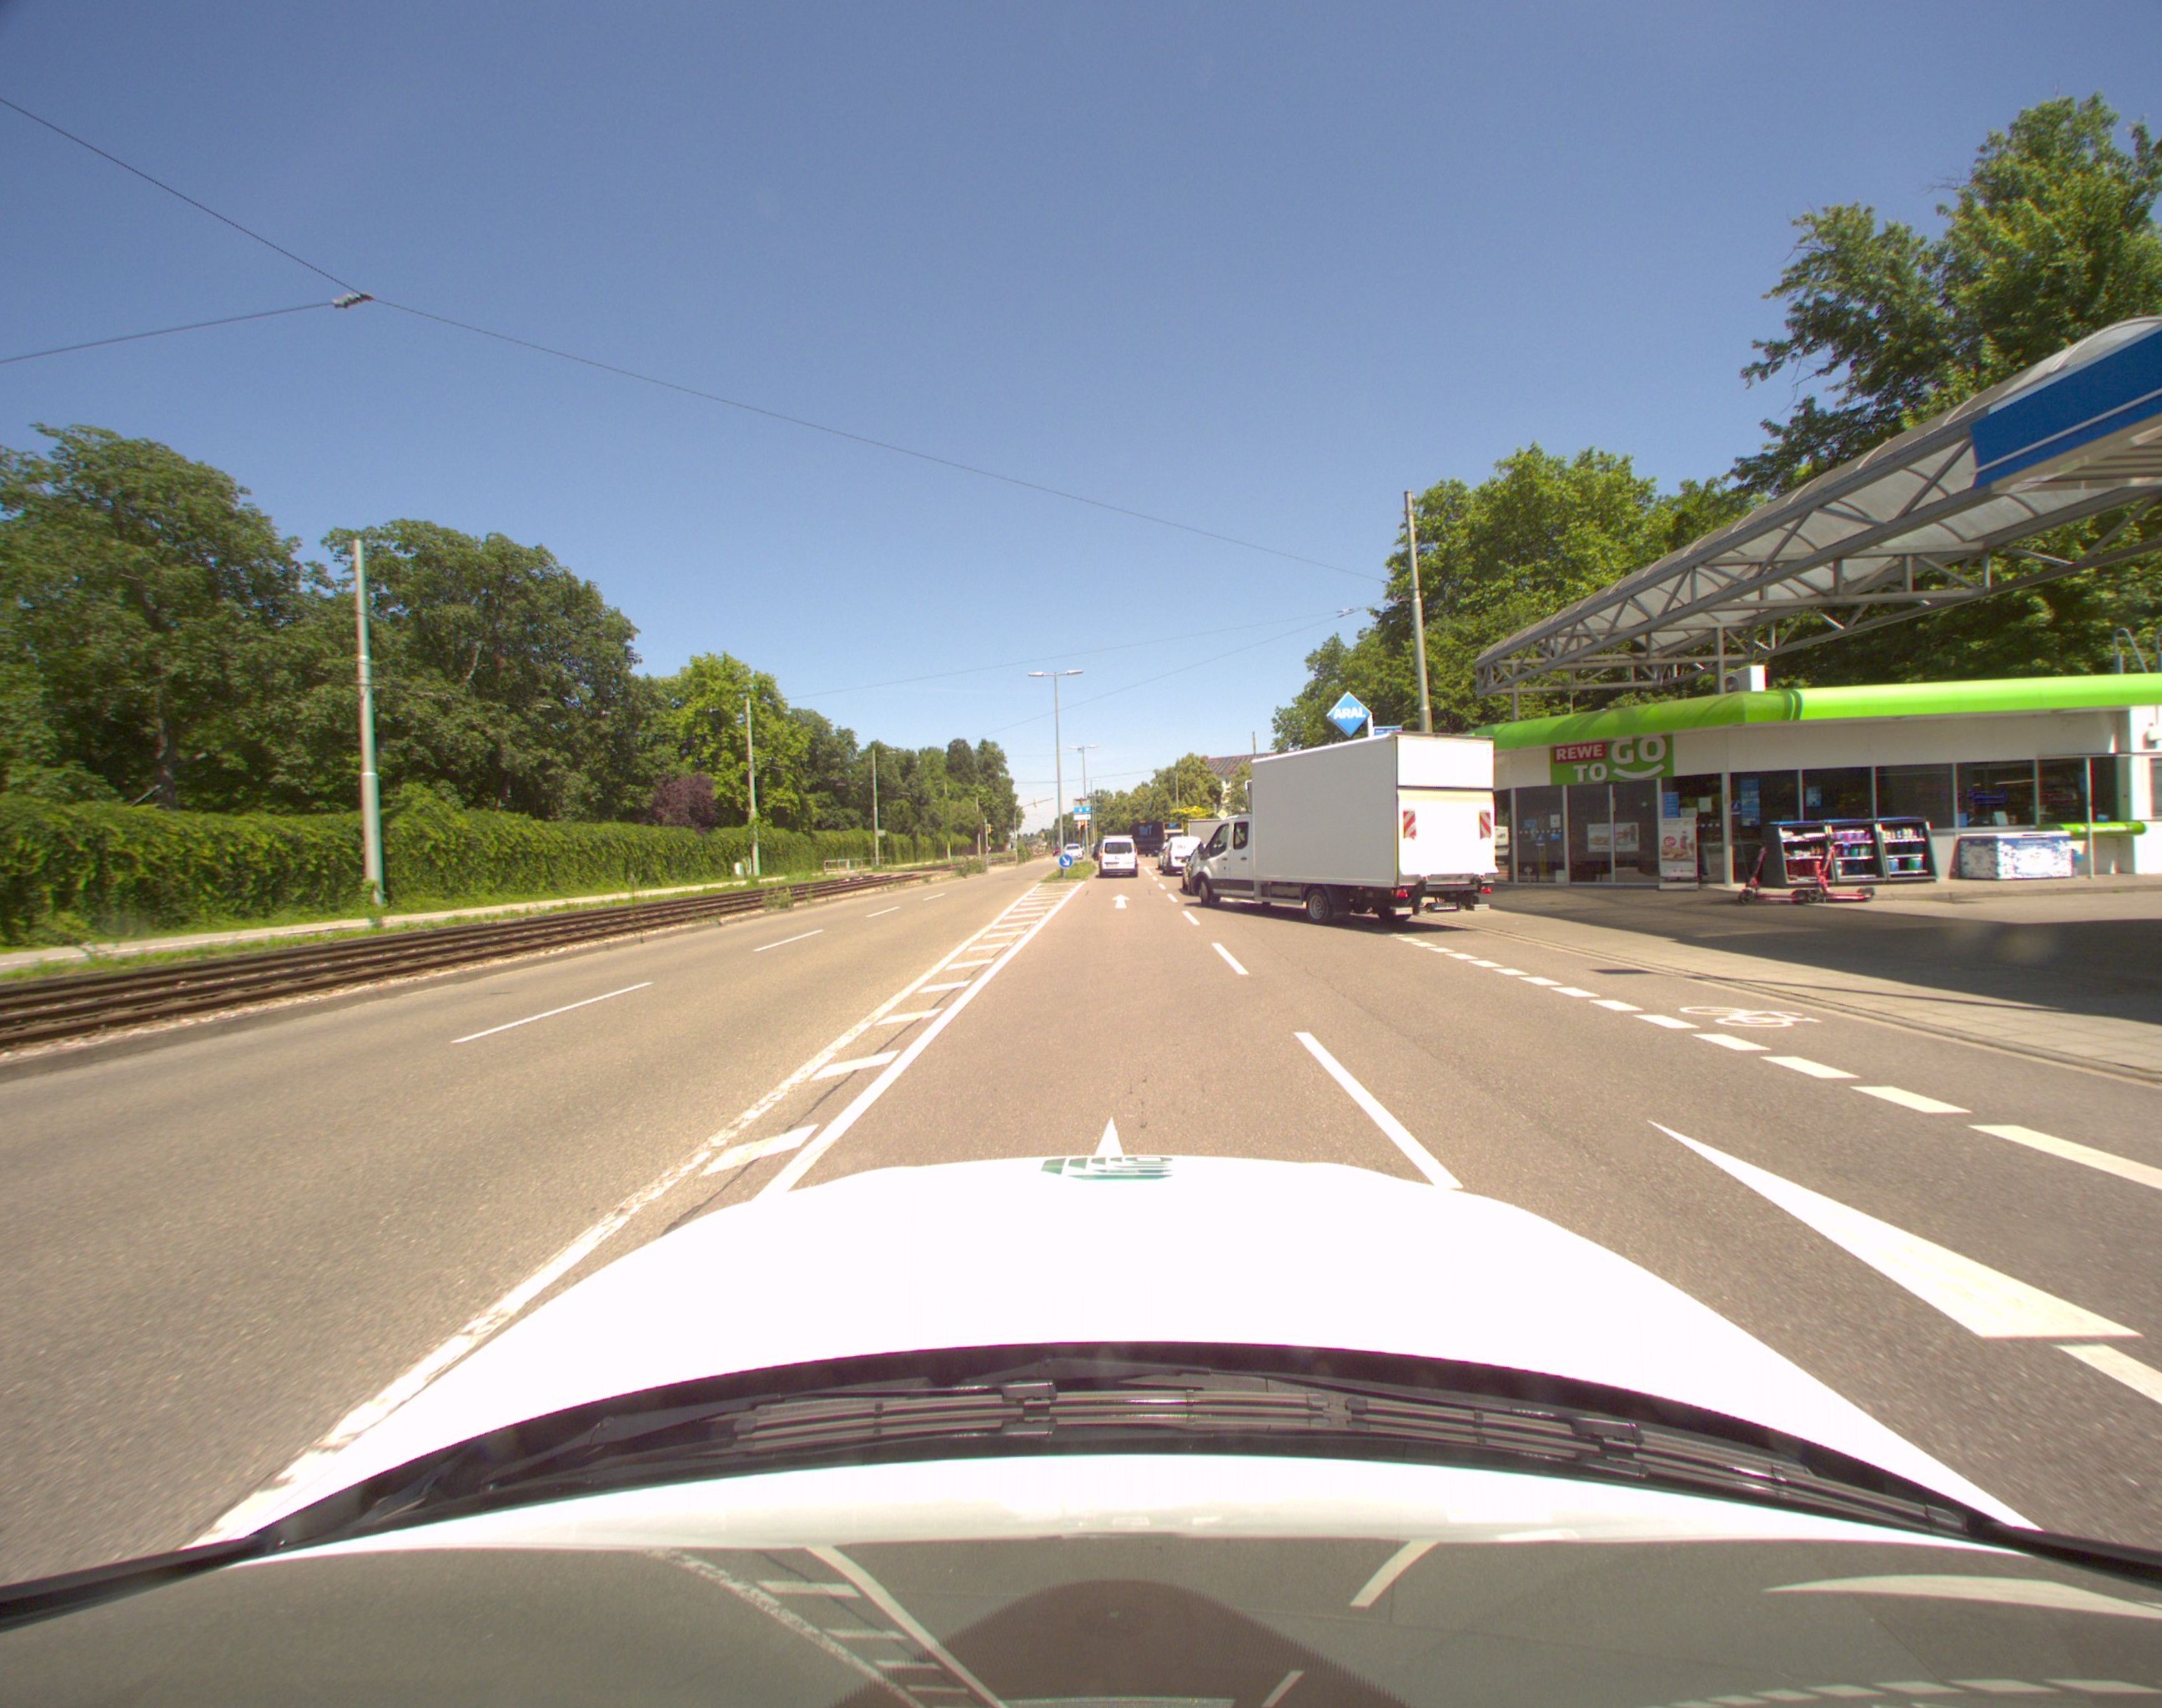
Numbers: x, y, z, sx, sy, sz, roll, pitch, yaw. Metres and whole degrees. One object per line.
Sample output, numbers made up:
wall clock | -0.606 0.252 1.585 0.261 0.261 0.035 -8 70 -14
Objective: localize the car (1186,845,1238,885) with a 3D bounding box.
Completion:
car | 4.953 0.394 31.129 1.600 1.451 3.524 0 0 3

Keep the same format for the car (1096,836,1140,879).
car | 1.685 0.123 37.427 1.859 1.836 3.850 -2 1 2

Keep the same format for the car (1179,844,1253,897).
car | 4.090 0.437 25.258 1.788 1.449 4.422 -2 1 3

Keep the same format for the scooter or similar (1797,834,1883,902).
scooter or similar | 13.726 0.242 14.736 1.130 1.176 0.384 -2 0 3

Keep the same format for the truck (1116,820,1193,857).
truck | 7.828 -1.643 88.419 3.601 3.632 8.718 -2 1 -33

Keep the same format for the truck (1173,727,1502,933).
truck | 4.849 -0.423 17.470 2.428 3.391 7.780 -2 0 -20

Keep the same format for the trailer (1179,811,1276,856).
trailer | 14.746 -2.028 82.408 8.861 4.050 3.562 -2 1 31

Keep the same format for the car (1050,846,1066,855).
car | -3.565 -0.579 124.682 1.975 1.358 4.543 -2 1 4

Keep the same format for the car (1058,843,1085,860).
car | -1.033 -0.275 85.660 1.994 1.617 4.439 -2 1 -11

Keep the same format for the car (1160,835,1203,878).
car | 4.659 0.092 38.168 1.703 1.830 4.017 -2 0 3

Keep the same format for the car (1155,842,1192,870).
car | 5.175 0.084 46.033 1.749 1.486 4.003 -2 1 2
